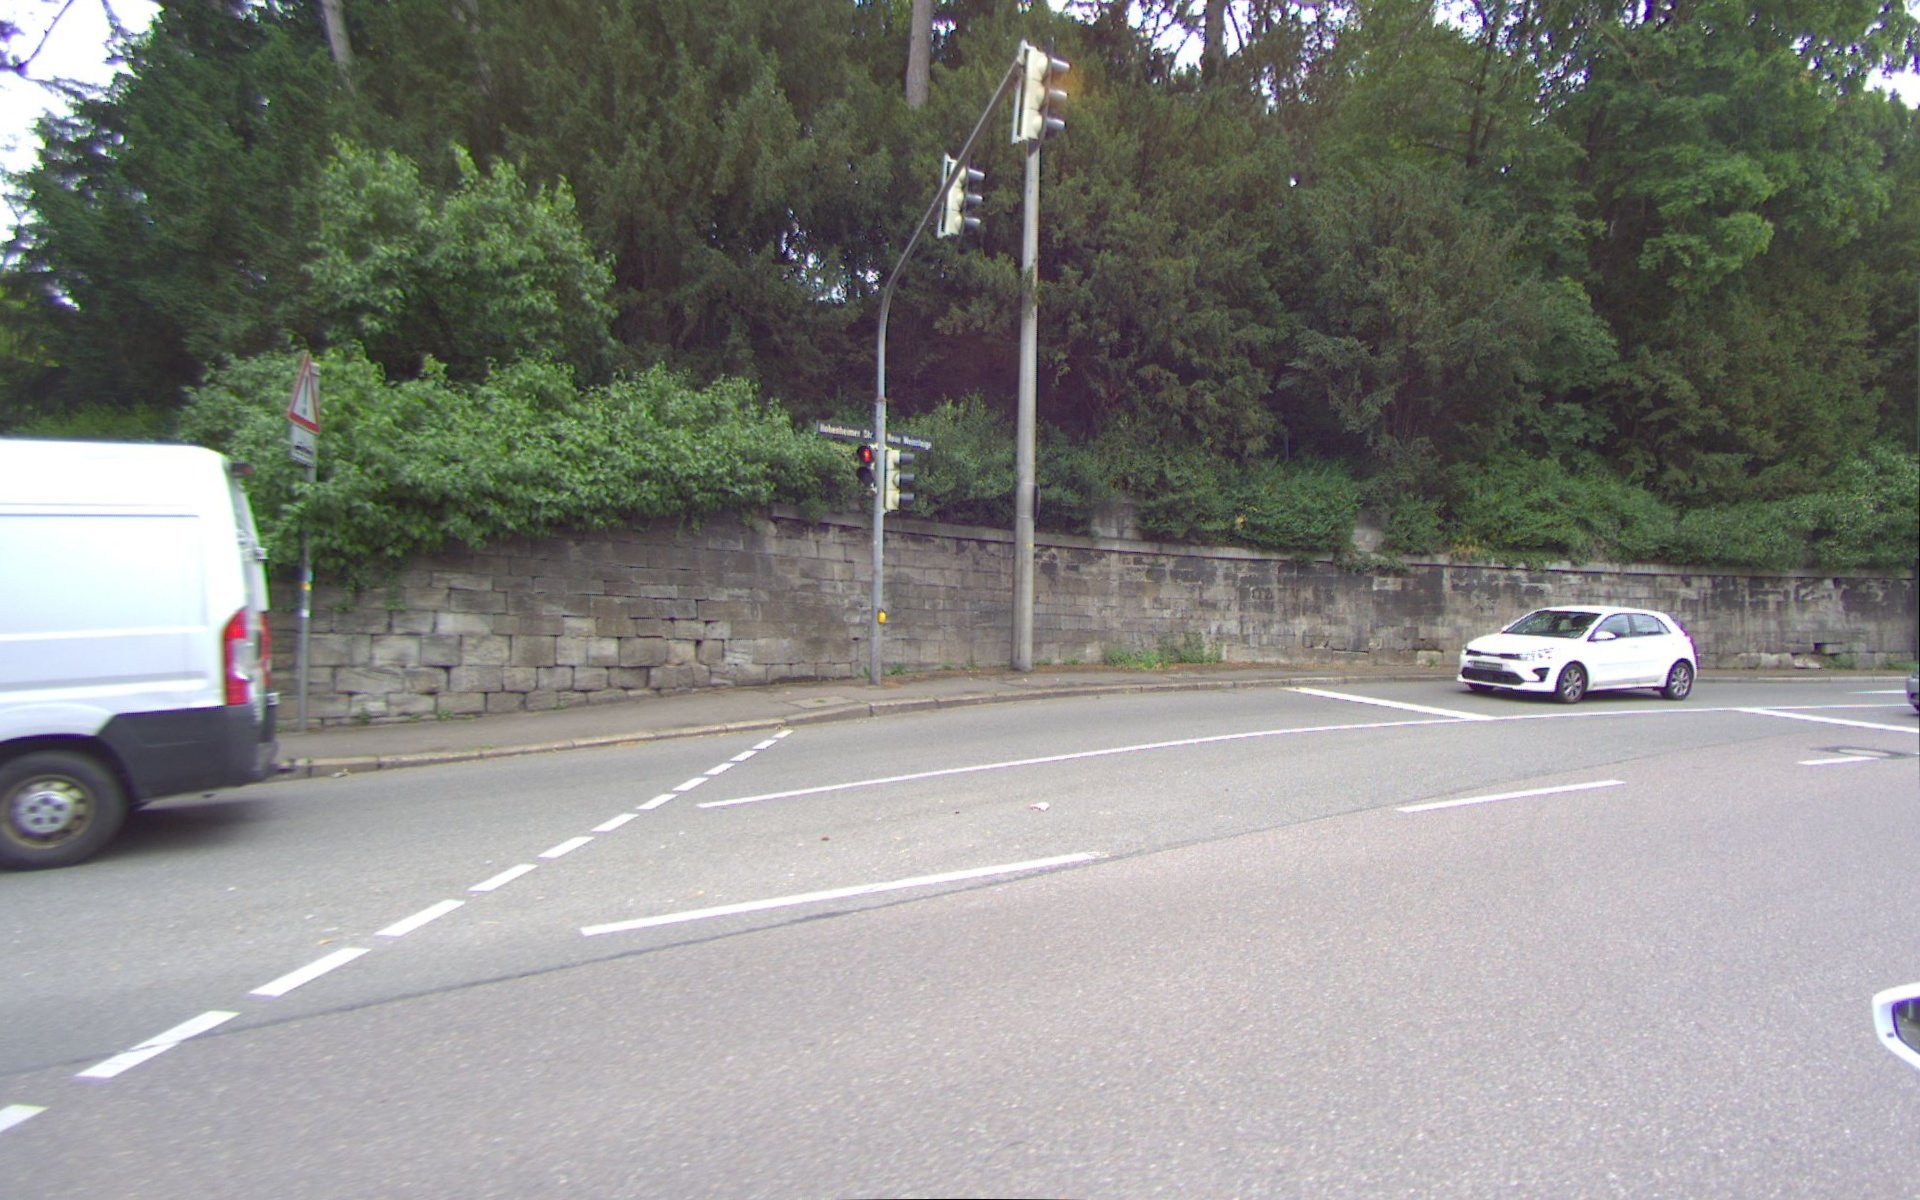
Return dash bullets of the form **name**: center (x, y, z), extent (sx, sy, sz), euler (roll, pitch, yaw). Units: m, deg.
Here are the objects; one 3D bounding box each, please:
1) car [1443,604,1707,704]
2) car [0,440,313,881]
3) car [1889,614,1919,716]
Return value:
- **car**: center (9.992, 0.801, 16.314), extent (4.007, 1.425, 1.634), euler (0, 2, -23)
- **car**: center (-7.114, 0.363, 5.591), extent (5.832, 2.445, 1.982), euler (-1, 0, -33)
- **car**: center (16.198, 0.969, 14.797), extent (4.408, 1.462, 1.755), euler (0, 2, -18)
